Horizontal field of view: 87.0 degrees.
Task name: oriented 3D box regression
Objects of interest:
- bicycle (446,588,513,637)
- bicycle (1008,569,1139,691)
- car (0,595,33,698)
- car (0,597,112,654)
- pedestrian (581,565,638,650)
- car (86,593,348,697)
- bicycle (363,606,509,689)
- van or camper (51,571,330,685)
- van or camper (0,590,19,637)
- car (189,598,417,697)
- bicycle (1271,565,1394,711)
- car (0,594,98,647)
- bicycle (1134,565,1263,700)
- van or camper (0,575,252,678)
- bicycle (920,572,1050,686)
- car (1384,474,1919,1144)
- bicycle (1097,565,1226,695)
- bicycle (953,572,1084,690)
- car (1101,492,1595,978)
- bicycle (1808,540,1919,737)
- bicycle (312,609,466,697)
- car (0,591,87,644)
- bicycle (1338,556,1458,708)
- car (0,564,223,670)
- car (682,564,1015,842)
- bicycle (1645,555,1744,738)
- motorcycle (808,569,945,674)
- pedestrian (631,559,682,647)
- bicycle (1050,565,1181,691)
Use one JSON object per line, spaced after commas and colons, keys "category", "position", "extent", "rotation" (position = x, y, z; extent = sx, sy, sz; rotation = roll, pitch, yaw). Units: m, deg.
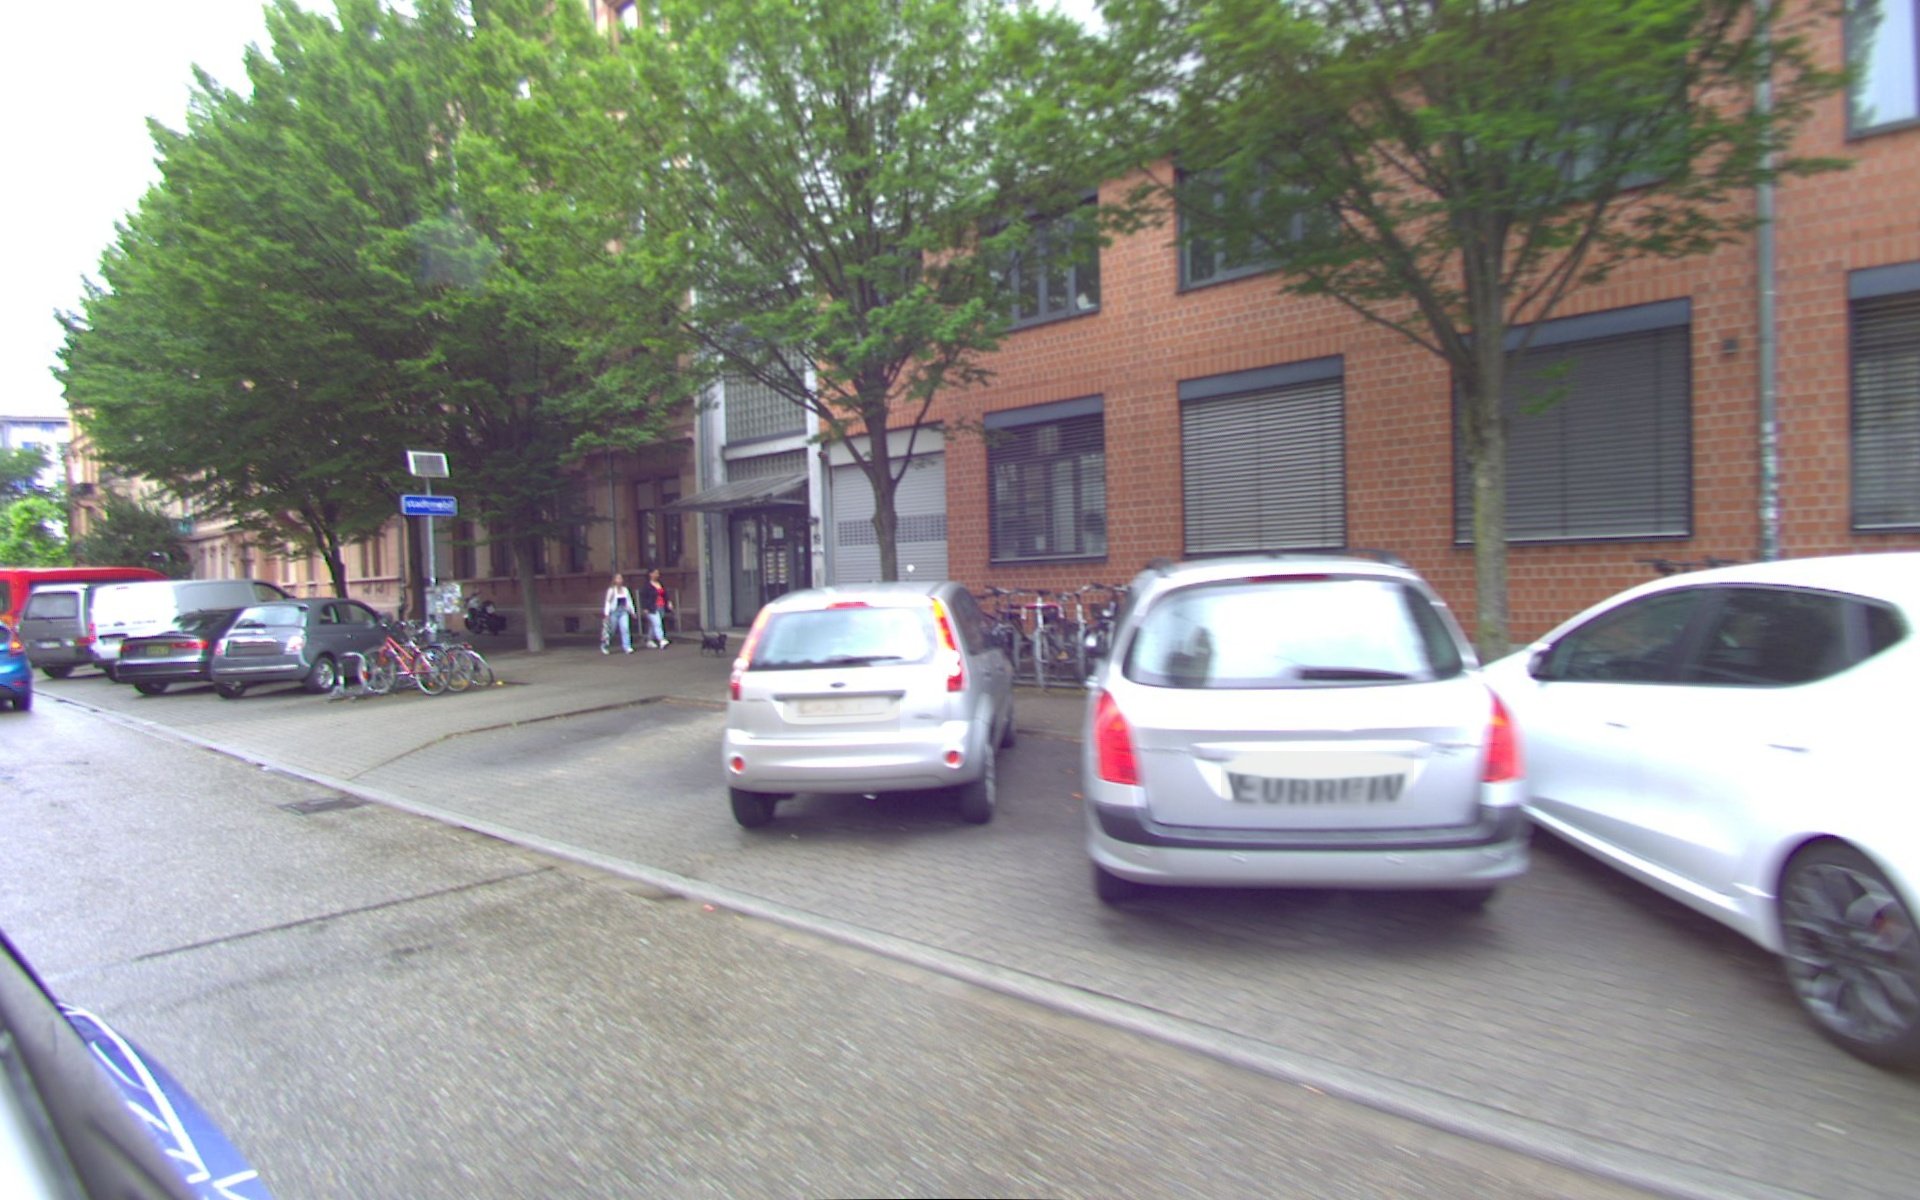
{"category": "bicycle", "position": [-13.010, 0.334, 27.353], "extent": [2.412, 1.202, 0.660], "rotation": [-1, 5, 42]}
{"category": "bicycle", "position": [1.349, 0.303, 11.680], "extent": [0.553, 1.160, 1.879], "rotation": [-1, 5, 38]}
{"category": "car", "position": [-15.712, 0.695, 15.526], "extent": [4.000, 1.476, 1.653], "rotation": [-1, 1, 40]}
{"category": "car", "position": [-31.863, 0.900, 34.327], "extent": [1.827, 1.642, 4.427], "rotation": [-2, 3, 14]}
{"category": "pedestrian", "position": [-6.506, 0.128, 18.792], "extent": [0.586, 1.507, 0.682], "rotation": [-1, 4, 35]}
{"category": "car", "position": [-13.165, 0.709, 18.286], "extent": [1.743, 1.457, 3.979], "rotation": [-3, 2, 0]}
{"category": "bicycle", "position": [-7.967, 0.727, 15.379], "extent": [2.133, 1.166, 0.778], "rotation": [-3, 1, 25]}
{"category": "van or camper", "position": [-16.029, 0.467, 21.521], "extent": [2.304, 1.967, 4.700], "rotation": [-3, 2, -1]}
{"category": "van or camper", "position": [-49.319, 0.824, 49.278], "extent": [2.159, 2.284, 4.717], "rotation": [-3, 3, 8]}
{"category": "car", "position": [-10.793, 0.708, 16.924], "extent": [1.627, 1.446, 3.482], "rotation": [-1, 0, -2]}
{"category": "bicycle", "position": [3.684, 0.321, 9.907], "extent": [0.553, 1.160, 1.879], "rotation": [-1, 5, 38]}
{"category": "car", "position": [-36.272, 0.833, 38.752], "extent": [2.543, 1.798, 4.534], "rotation": [-1, 4, 40]}
{"category": "bicycle", "position": [2.559, 0.292, 10.689], "extent": [0.553, 1.160, 1.879], "rotation": [-1, 5, 38]}
{"category": "van or camper", "position": [-18.845, 0.506, 23.128], "extent": [1.760, 1.990, 4.439], "rotation": [-2, 2, 7]}
{"category": "bicycle", "position": [0.350, 0.318, 12.595], "extent": [0.553, 1.160, 1.879], "rotation": [-1, 5, 38]}
{"category": "car", "position": [3.606, 0.364, 4.145], "extent": [2.310, 1.550, 4.516], "rotation": [-1, 3, 8]}
{"category": "bicycle", "position": [2.237, 0.279, 11.040], "extent": [0.553, 1.160, 1.879], "rotation": [-1, 5, 38]}
{"category": "bicycle", "position": [0.742, 0.332, 12.237], "extent": [0.553, 1.160, 1.879], "rotation": [-1, 5, 38]}
{"category": "car", "position": [1.579, 0.466, 5.261], "extent": [1.615, 1.667, 3.379], "rotation": [-1, 0, 8]}
{"category": "bicycle", "position": [6.586, 0.213, 7.358], "extent": [0.553, 1.160, 1.879], "rotation": [-1, 5, 38]}
{"category": "bicycle", "position": [-8.281, 0.775, 14.661], "extent": [2.207, 1.166, 0.744], "rotation": [-3, 1, 25]}
{"category": "car", "position": [-40.370, 0.749, 42.668], "extent": [1.853, 2.094, 5.227], "rotation": [-1, 2, 16]}
{"category": "bicycle", "position": [4.137, 0.242, 9.476], "extent": [0.553, 1.160, 1.879], "rotation": [-1, 5, 38]}
{"category": "car", "position": [-23.584, 0.359, 27.565], "extent": [2.207, 2.560, 5.551], "rotation": [-2, 1, 13]}
{"category": "car", "position": [-0.507, 0.543, 7.252], "extent": [1.664, 1.463, 3.708], "rotation": [-1, 0, 5]}
{"category": "bicycle", "position": [5.828, 0.297, 7.993], "extent": [0.553, 1.160, 1.879], "rotation": [-1, 5, 38]}
{"category": "motorcycle", "position": [-1.140, 0.265, 14.141], "extent": [0.657, 1.234, 1.862], "rotation": [-1, 5, 44]}
{"category": "pedestrian", "position": [-5.724, 0.051, 19.105], "extent": [0.588, 1.613, 0.562], "rotation": [-1, 4, 35]}
{"category": "bicycle", "position": [1.788, 0.266, 11.372], "extent": [0.553, 1.160, 1.879], "rotation": [-1, 5, 38]}
